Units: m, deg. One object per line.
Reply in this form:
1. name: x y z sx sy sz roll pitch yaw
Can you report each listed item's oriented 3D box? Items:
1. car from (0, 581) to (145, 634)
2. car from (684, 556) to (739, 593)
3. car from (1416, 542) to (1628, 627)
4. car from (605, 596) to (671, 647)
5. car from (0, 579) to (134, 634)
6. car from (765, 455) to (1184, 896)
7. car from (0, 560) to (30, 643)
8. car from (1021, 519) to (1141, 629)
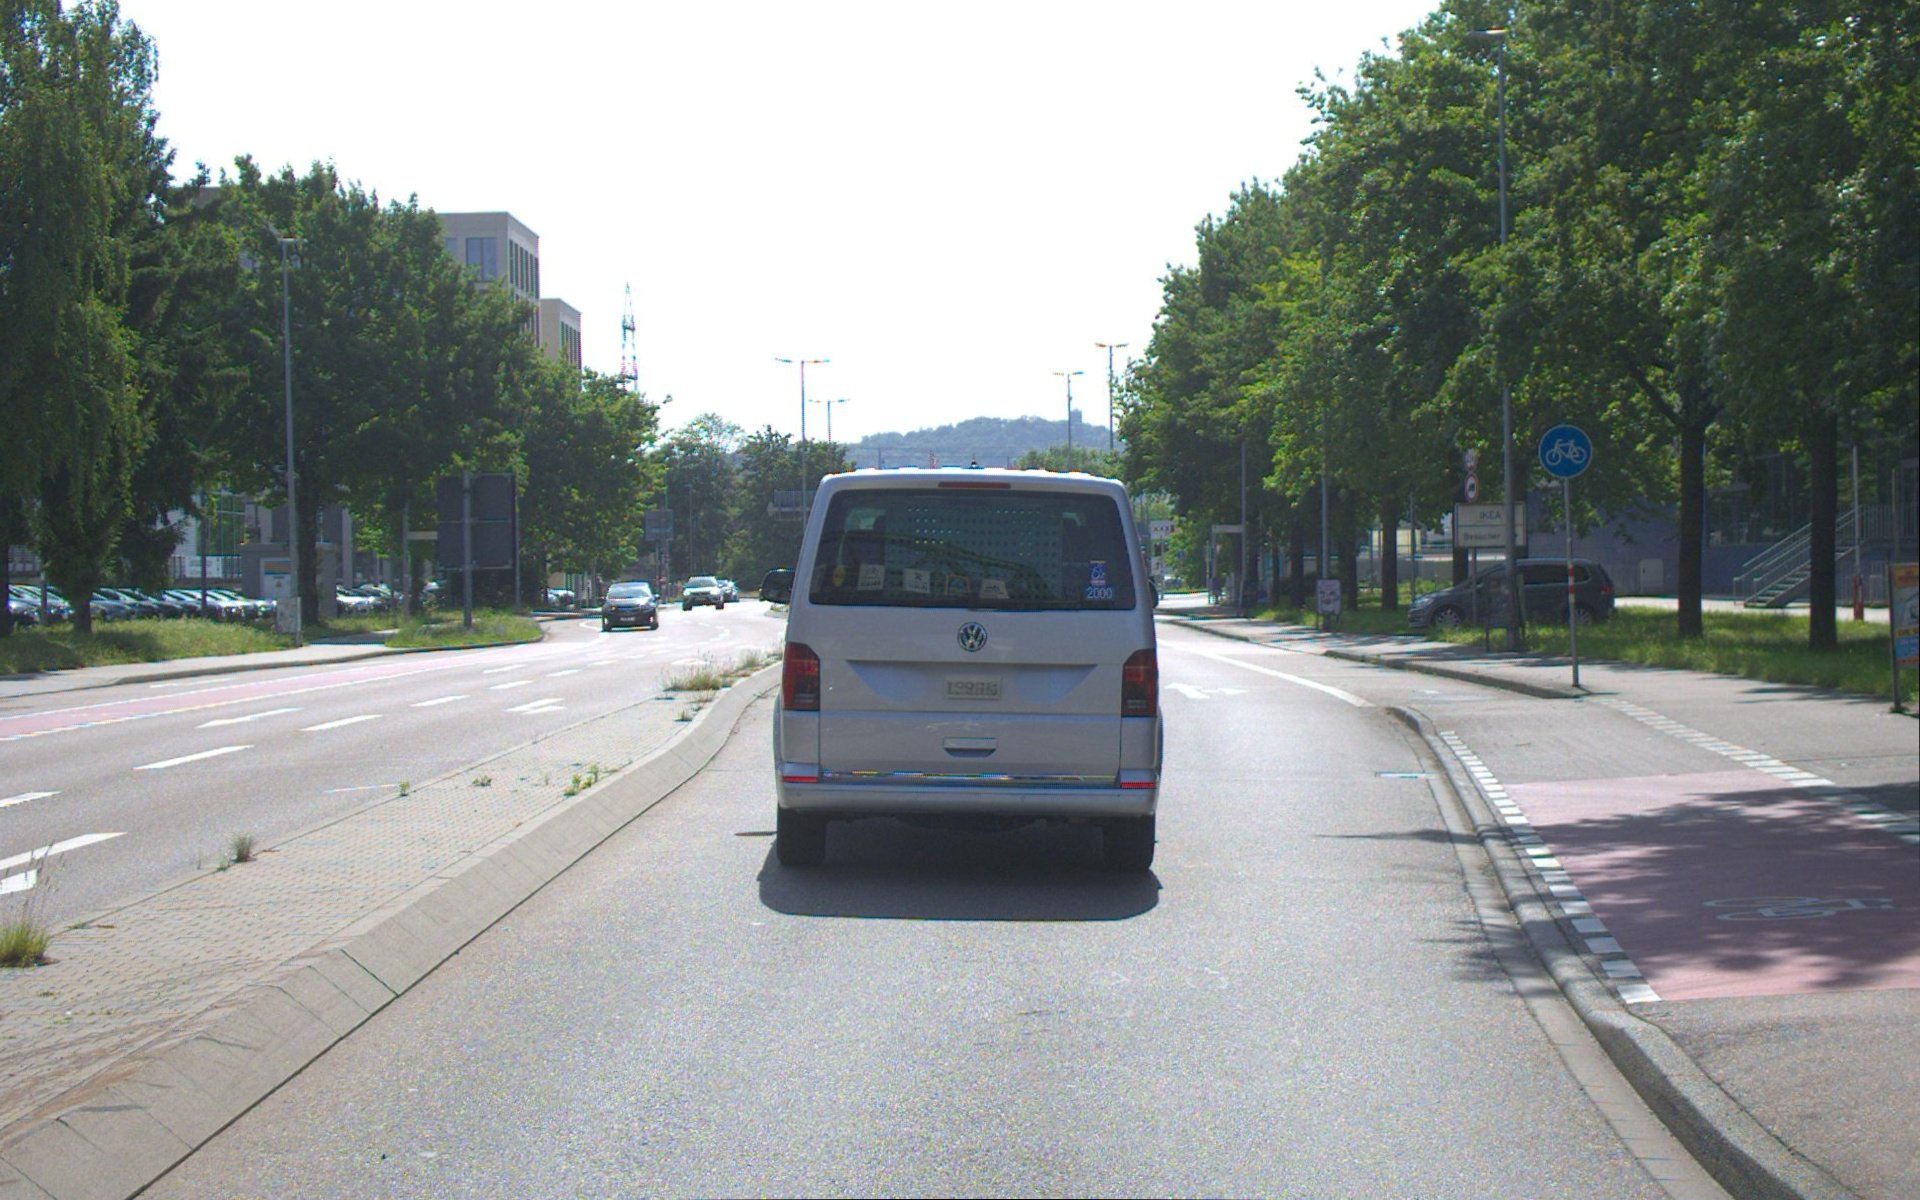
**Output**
1. car: -24.442 0.193 94.575 3.593 1.281 1.865 -3 1 -2
2. car: -11.651 -1.202 161.418 1.994 1.612 4.103 -2 0 4
3. car: 12.232 -0.346 75.101 4.445 1.688 1.844 -2 0 7
4. car: -10.279 0.679 109.875 1.698 1.514 4.027 -2 0 0
5. car: -22.014 0.149 82.856 3.791 1.281 1.745 1 0 -2
6. car: 0.059 0.328 17.610 1.884 1.984 4.000 1 0 0
7. car: -23.709 0.006 78.353 4.463 1.869 2.000 1 0 1
8. car: 2.220 -0.491 64.522 1.967 1.961 5.125 1 0 -1
